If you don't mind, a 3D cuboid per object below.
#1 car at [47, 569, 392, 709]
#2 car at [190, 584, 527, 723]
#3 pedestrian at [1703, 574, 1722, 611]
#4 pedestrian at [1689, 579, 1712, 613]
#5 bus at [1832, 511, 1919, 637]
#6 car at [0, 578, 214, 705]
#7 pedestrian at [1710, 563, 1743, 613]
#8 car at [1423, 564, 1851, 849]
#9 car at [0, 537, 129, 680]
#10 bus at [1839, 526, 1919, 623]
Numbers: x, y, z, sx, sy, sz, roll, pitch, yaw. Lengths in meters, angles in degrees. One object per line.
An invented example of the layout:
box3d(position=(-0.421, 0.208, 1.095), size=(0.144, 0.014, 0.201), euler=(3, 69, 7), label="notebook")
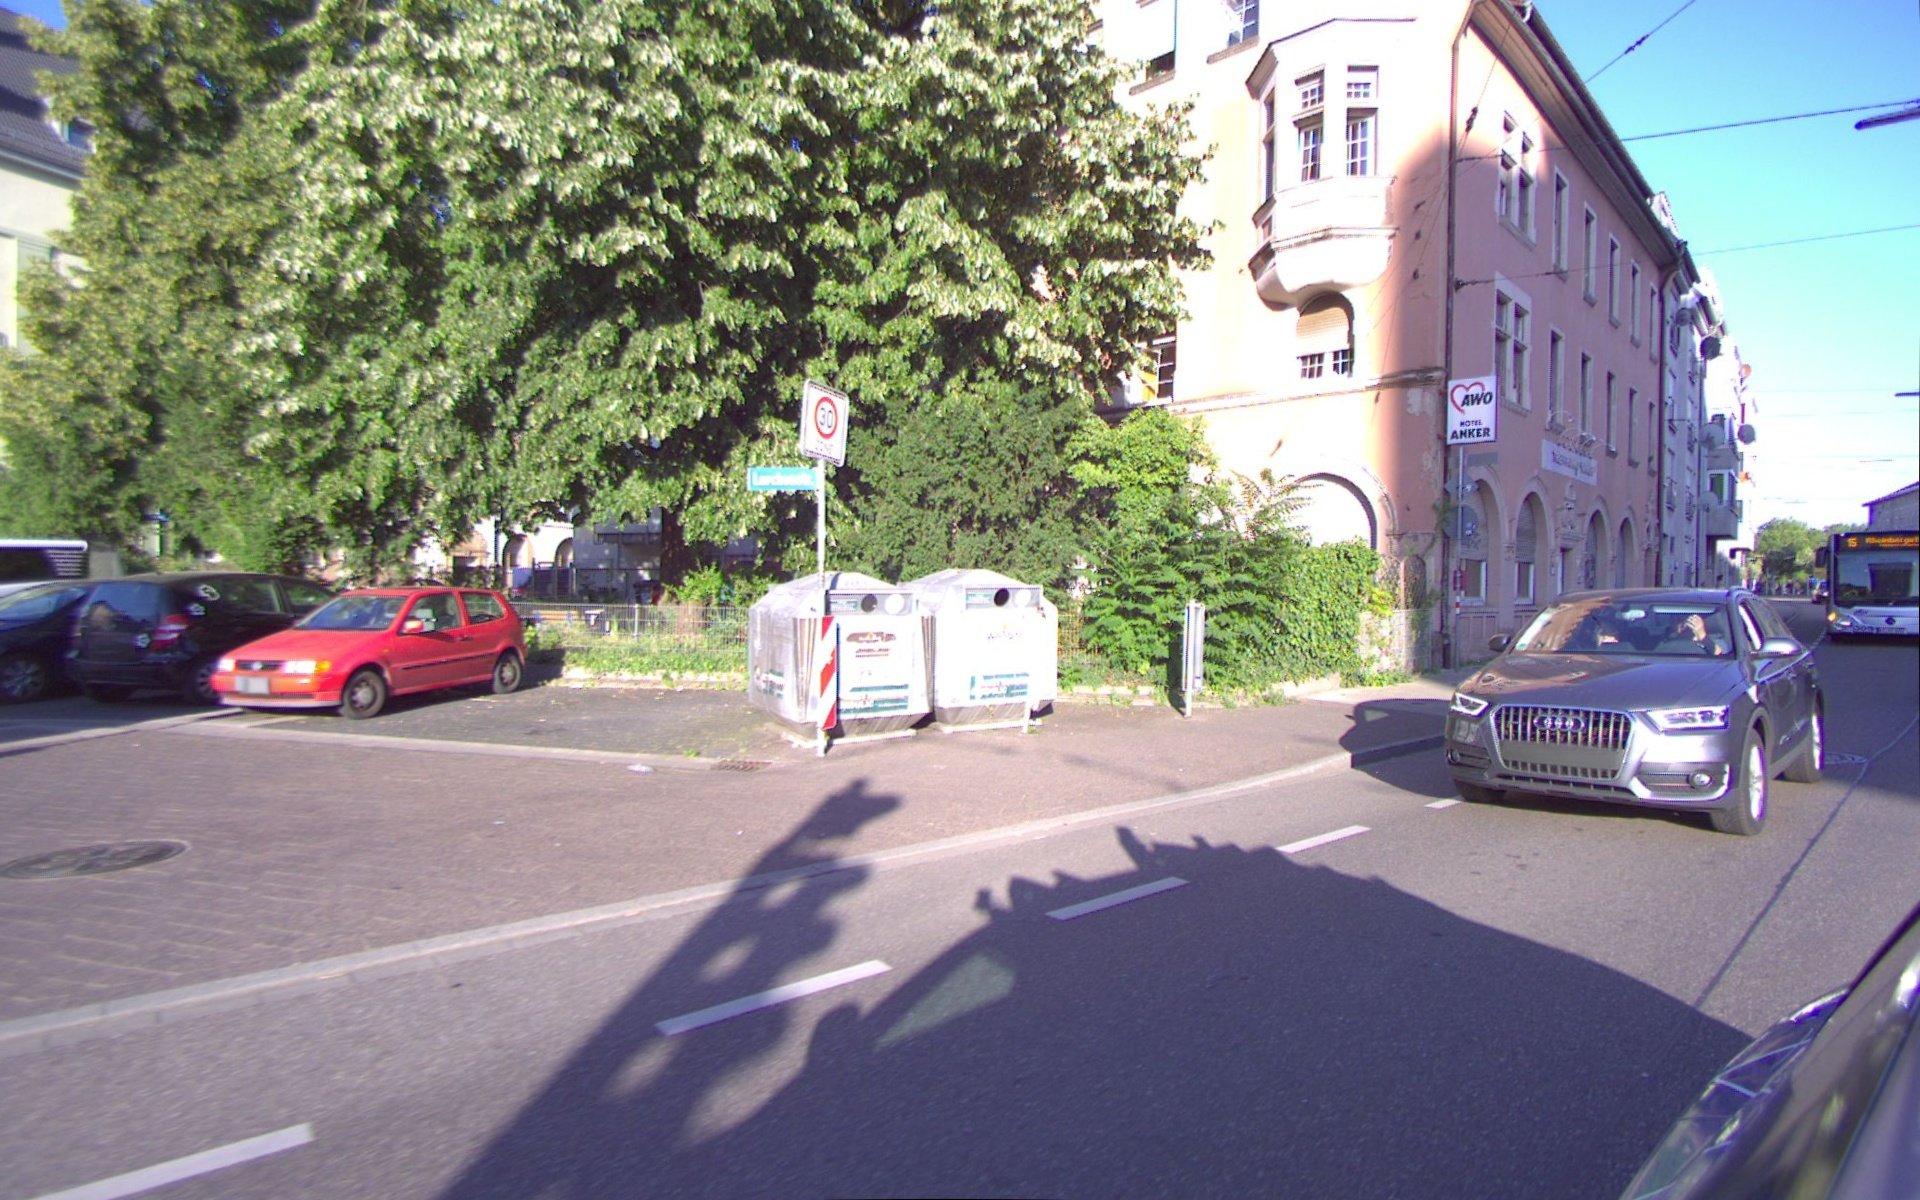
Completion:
box3d(position=(-9.359, 0.397, 13.143), size=(1.606, 1.556, 3.434), euler=(0, 1, 12), label="car")
box3d(position=(-6.992, 0.515, 12.184), size=(1.606, 1.374, 3.434), euler=(1, 1, 12), label="car")
box3d(position=(28.591, -0.296, 38.458), size=(0.513, 1.361, 0.601), euler=(2, 3, 39), label="pedestrian")
box3d(position=(27.838, -0.151, 38.042), size=(0.587, 1.267, 0.575), euler=(2, 2, 43), label="pedestrian")
box3d(position=(26.975, -0.733, 29.087), size=(2.723, 3.116, 10.440), euler=(0, 1, 42), label="bus")
box3d(position=(-11.856, 0.466, 13.037), size=(1.606, 1.477, 3.434), euler=(1, 1, 12), label="car")
box3d(position=(28.223, -0.442, 37.267), size=(0.830, 1.794, 0.980), euler=(2, 2, 43), label="pedestrian")
box3d(position=(5.299, 0.590, 7.711), size=(3.997, 1.607, 1.769), euler=(0, 0, -42), label="car")
box3d(position=(-14.465, 0.123, 13.857), size=(1.895, 2.003, 4.738), euler=(1, 1, 9), label="car")
box3d(position=(33.934, -0.900, 36.894), size=(2.703, 3.116, 10.440), euler=(0, 1, 42), label="bus")
